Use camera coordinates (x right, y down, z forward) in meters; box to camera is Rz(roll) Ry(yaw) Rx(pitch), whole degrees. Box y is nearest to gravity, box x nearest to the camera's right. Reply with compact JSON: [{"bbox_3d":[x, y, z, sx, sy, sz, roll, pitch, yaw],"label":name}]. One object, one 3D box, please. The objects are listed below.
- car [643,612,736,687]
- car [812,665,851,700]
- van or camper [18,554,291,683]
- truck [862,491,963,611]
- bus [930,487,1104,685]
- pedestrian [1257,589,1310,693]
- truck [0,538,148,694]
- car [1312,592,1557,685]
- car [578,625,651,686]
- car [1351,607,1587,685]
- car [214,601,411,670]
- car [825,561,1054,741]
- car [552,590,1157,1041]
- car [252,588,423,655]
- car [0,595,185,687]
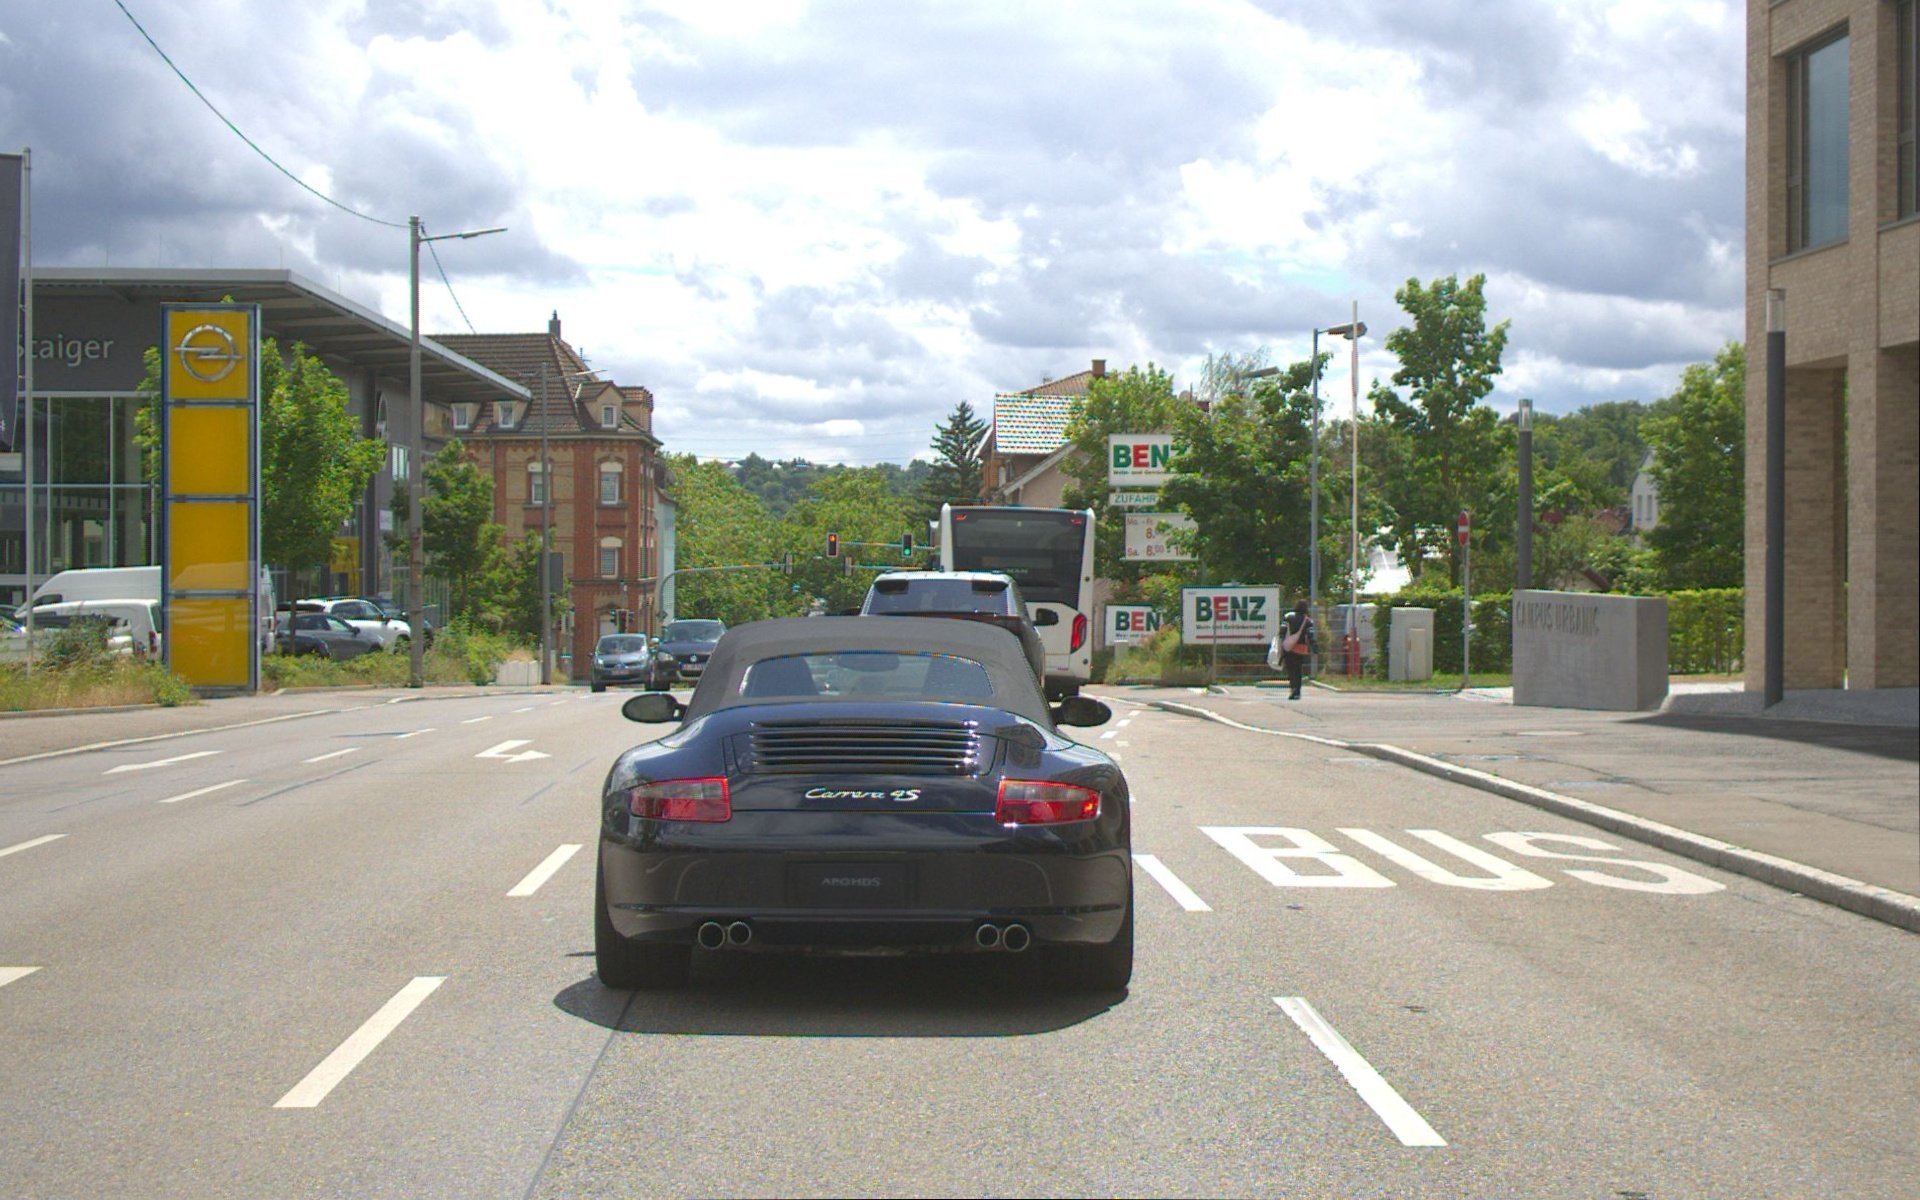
[{"bbox_3d":[-5.606,1.032,71.618,1.829,1.504,4.277,0,-1,-3],"label":"car"},{"bbox_3d":[-6.185,3.946,165.297,1.864,1.660,4.259,0,-1,-2],"label":"car"},{"bbox_3d":[-16.281,0.358,69.691,5.026,2.522,2.318,0,1,-2],"label":"van or camper"},{"bbox_3d":[-1.422,-1.329,98.836,2.666,3.098,9.035,-1,-1,-2],"label":"truck"},{"bbox_3d":[0.935,-0.333,61.866,2.802,3.187,12.196,0,1,0],"label":"bus"},{"bbox_3d":[4.846,0.611,51.509,0.687,1.531,0.856,0,0,-2],"label":"pedestrian"},{"bbox_3d":[-14.663,0.271,48.618,5.860,2.140,2.477,-1,-1,-4],"label":"truck"},{"bbox_3d":[10.029,0.823,72.828,4.706,1.842,2.089,-1,-1,-9],"label":"car"},{"bbox_3d":[-9.590,1.523,95.634,1.743,1.590,4.042,-2,0,-3],"label":"car"},{"bbox_3d":[10.328,0.944,70.004,4.432,1.477,2.000,-1,-1,-2],"label":"car"},{"bbox_3d":[-14.706,0.784,78.326,1.897,1.446,4.825,1,1,26],"label":"car"},{"bbox_3d":[-0.261,0.428,32.517,1.930,1.577,4.208,0,1,-4],"label":"car"},{"bbox_3d":[-0.353,0.684,13.104,1.930,1.372,4.208,0,1,0],"label":"car"},{"bbox_3d":[-15.062,0.541,83.420,1.933,1.567,4.548,0,-1,22],"label":"car"},{"bbox_3d":[-17.367,0.784,67.070,3.987,1.700,2.000,0,1,4],"label":"car"}]
